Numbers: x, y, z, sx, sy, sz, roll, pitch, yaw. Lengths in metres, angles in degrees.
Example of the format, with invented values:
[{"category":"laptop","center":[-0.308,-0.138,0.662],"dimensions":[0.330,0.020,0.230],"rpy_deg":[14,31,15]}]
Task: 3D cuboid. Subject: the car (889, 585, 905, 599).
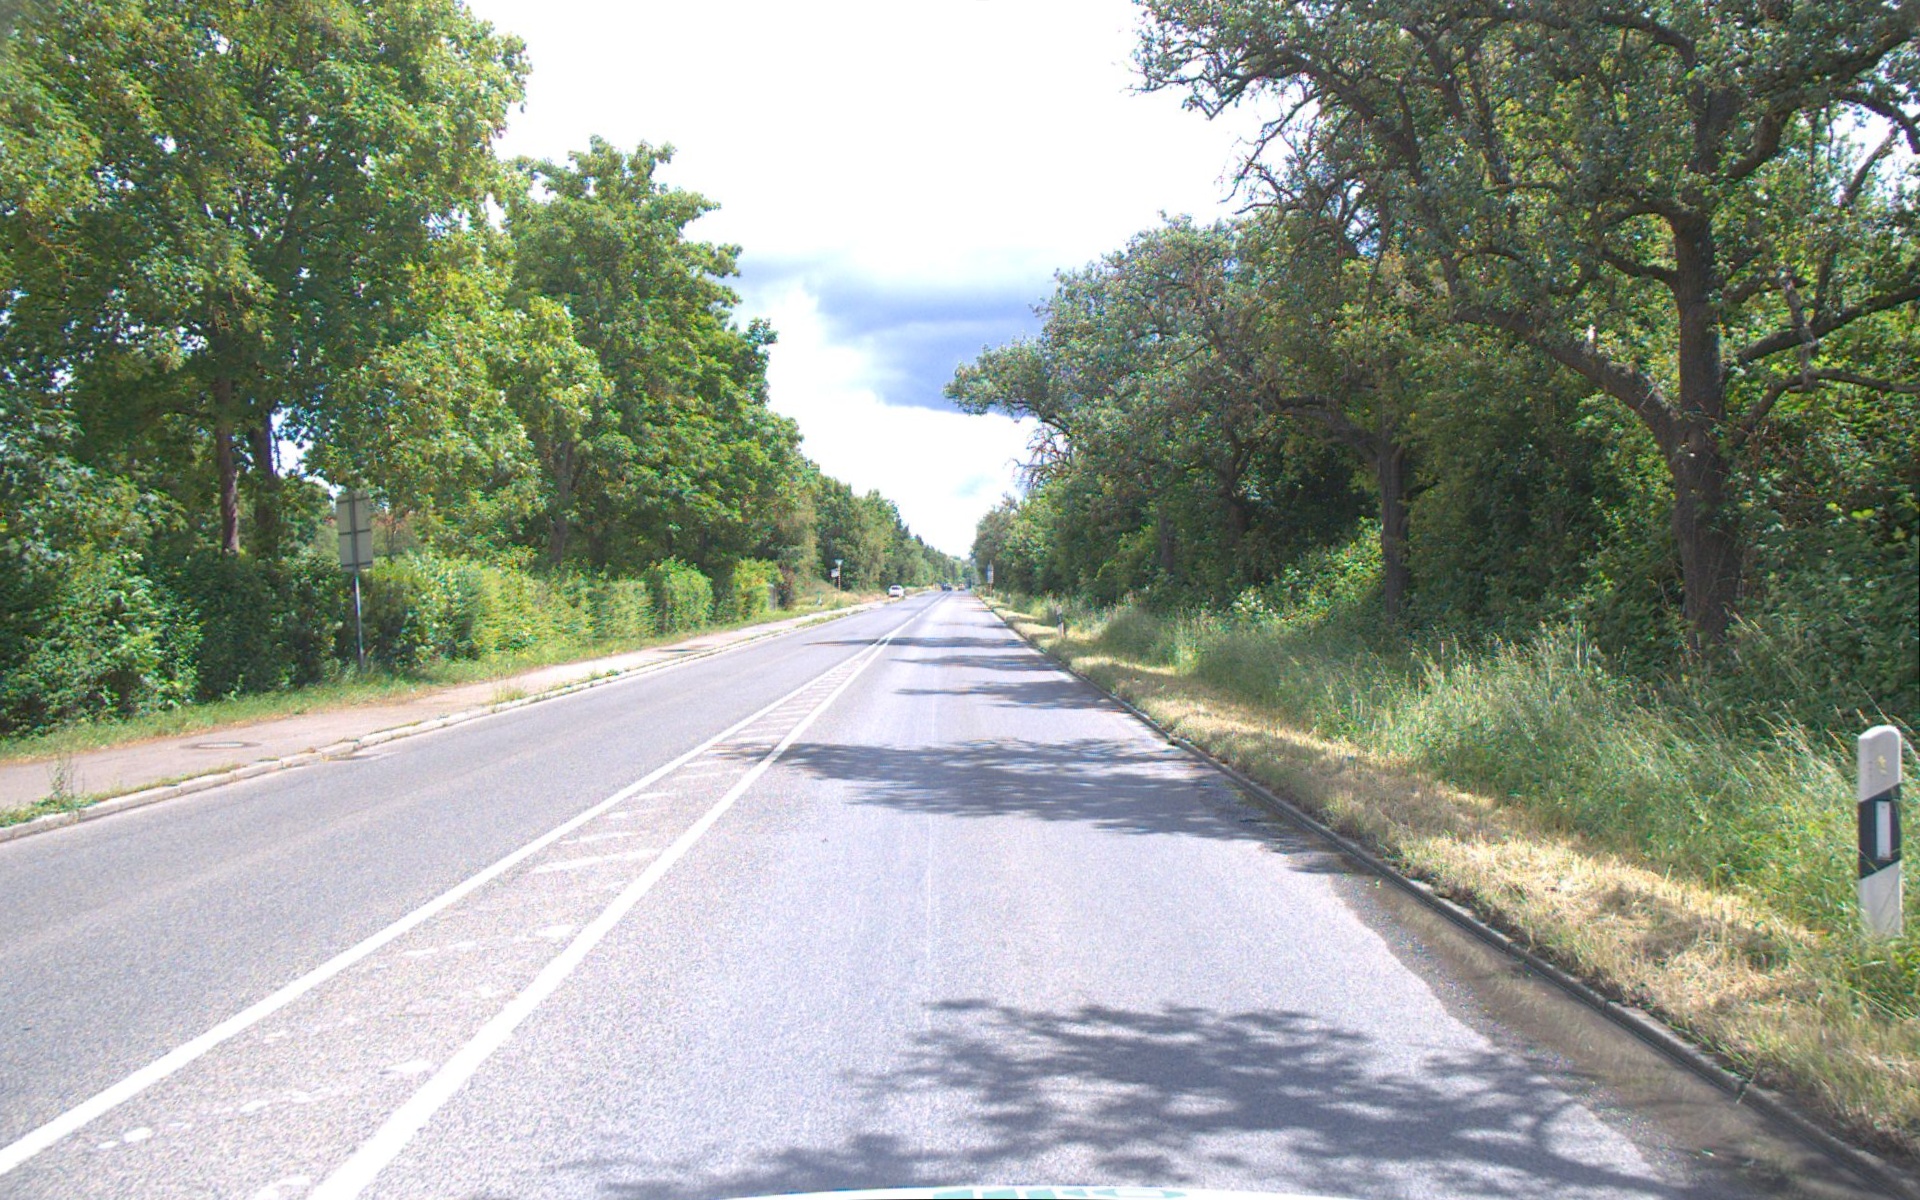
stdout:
[{"category":"car","center":[-7.672,-0.979,201.317],"dimensions":[1.761,1.570,3.954],"rpy_deg":[-1,-1,0]}]
